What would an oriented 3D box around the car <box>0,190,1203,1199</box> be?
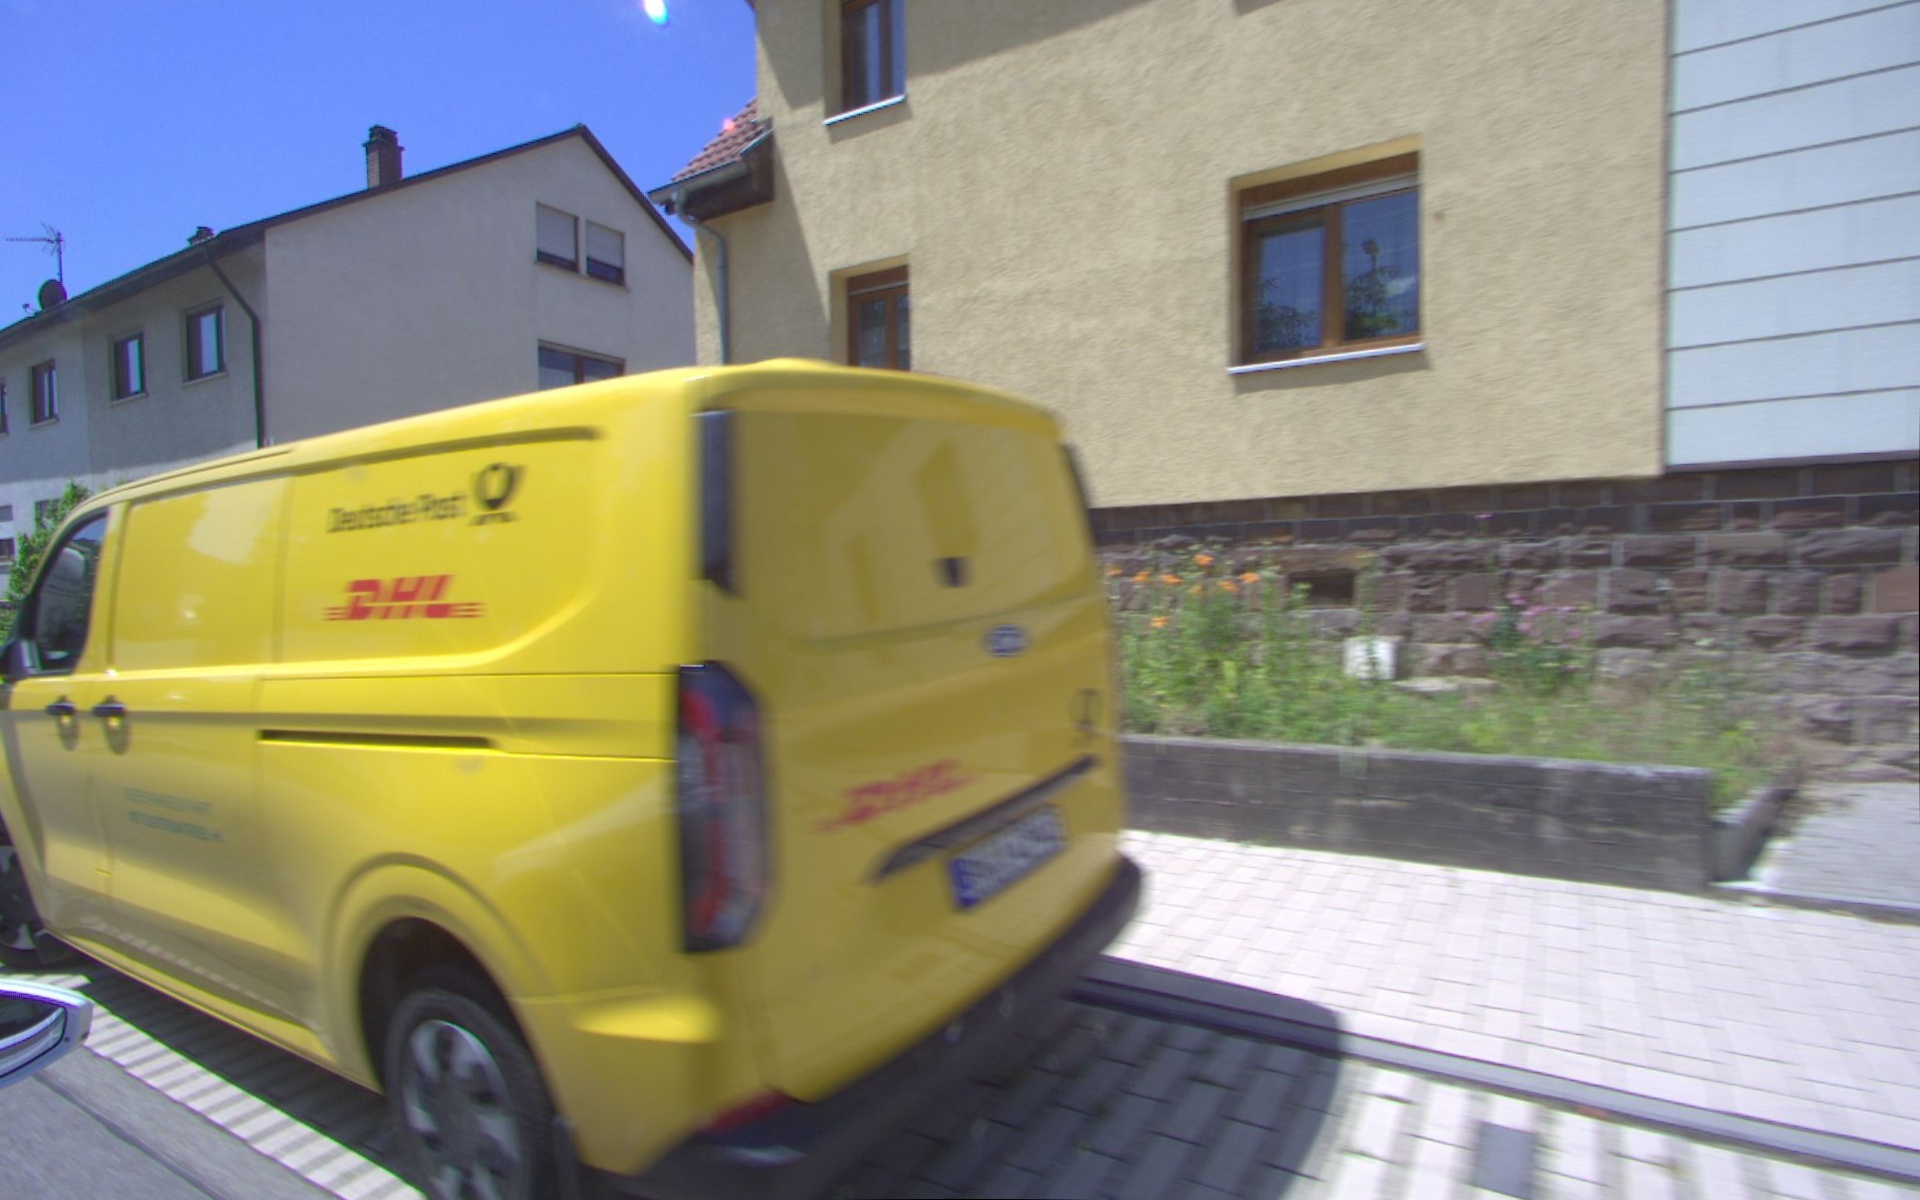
[{"bbox_3d":[-2.125,0.408,3.937,5.541,2.042,2.184,-2,3,31],"label":"car"}]
